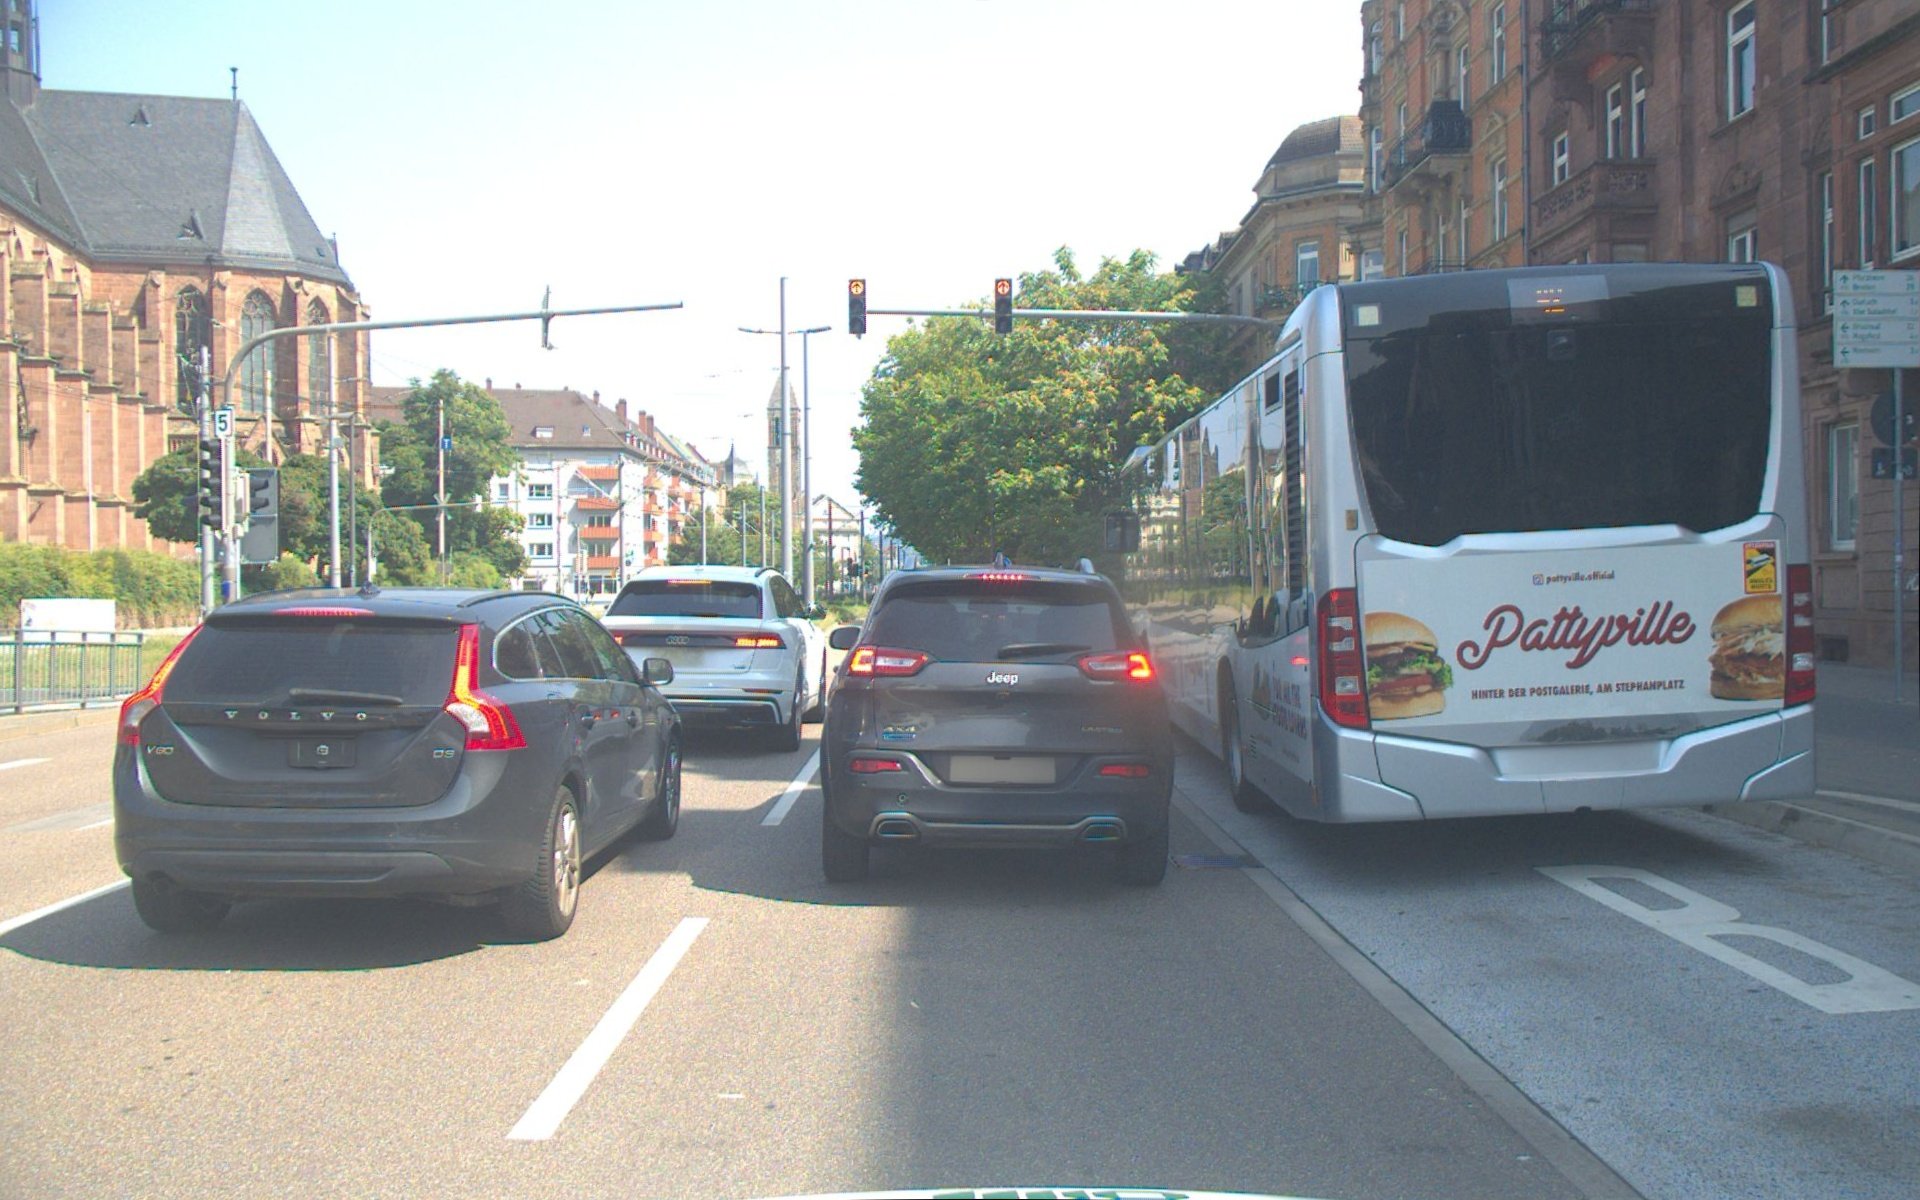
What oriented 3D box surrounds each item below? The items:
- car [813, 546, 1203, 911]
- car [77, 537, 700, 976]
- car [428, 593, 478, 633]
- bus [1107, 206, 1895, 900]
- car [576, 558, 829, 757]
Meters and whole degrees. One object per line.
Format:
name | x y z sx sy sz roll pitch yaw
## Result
car | 0.228 0.580 9.849 1.795 1.680 4.308 1 0 0
car | -2.486 0.575 8.382 1.712 1.642 4.307 1 0 -1
car | -19.801 0.484 64.484 1.720 1.460 4.548 -2 1 -19
bus | 3.110 -0.258 13.876 2.687 3.161 11.957 -3 0 1
car | -2.356 0.468 16.195 1.863 1.680 4.307 0 1 -1
